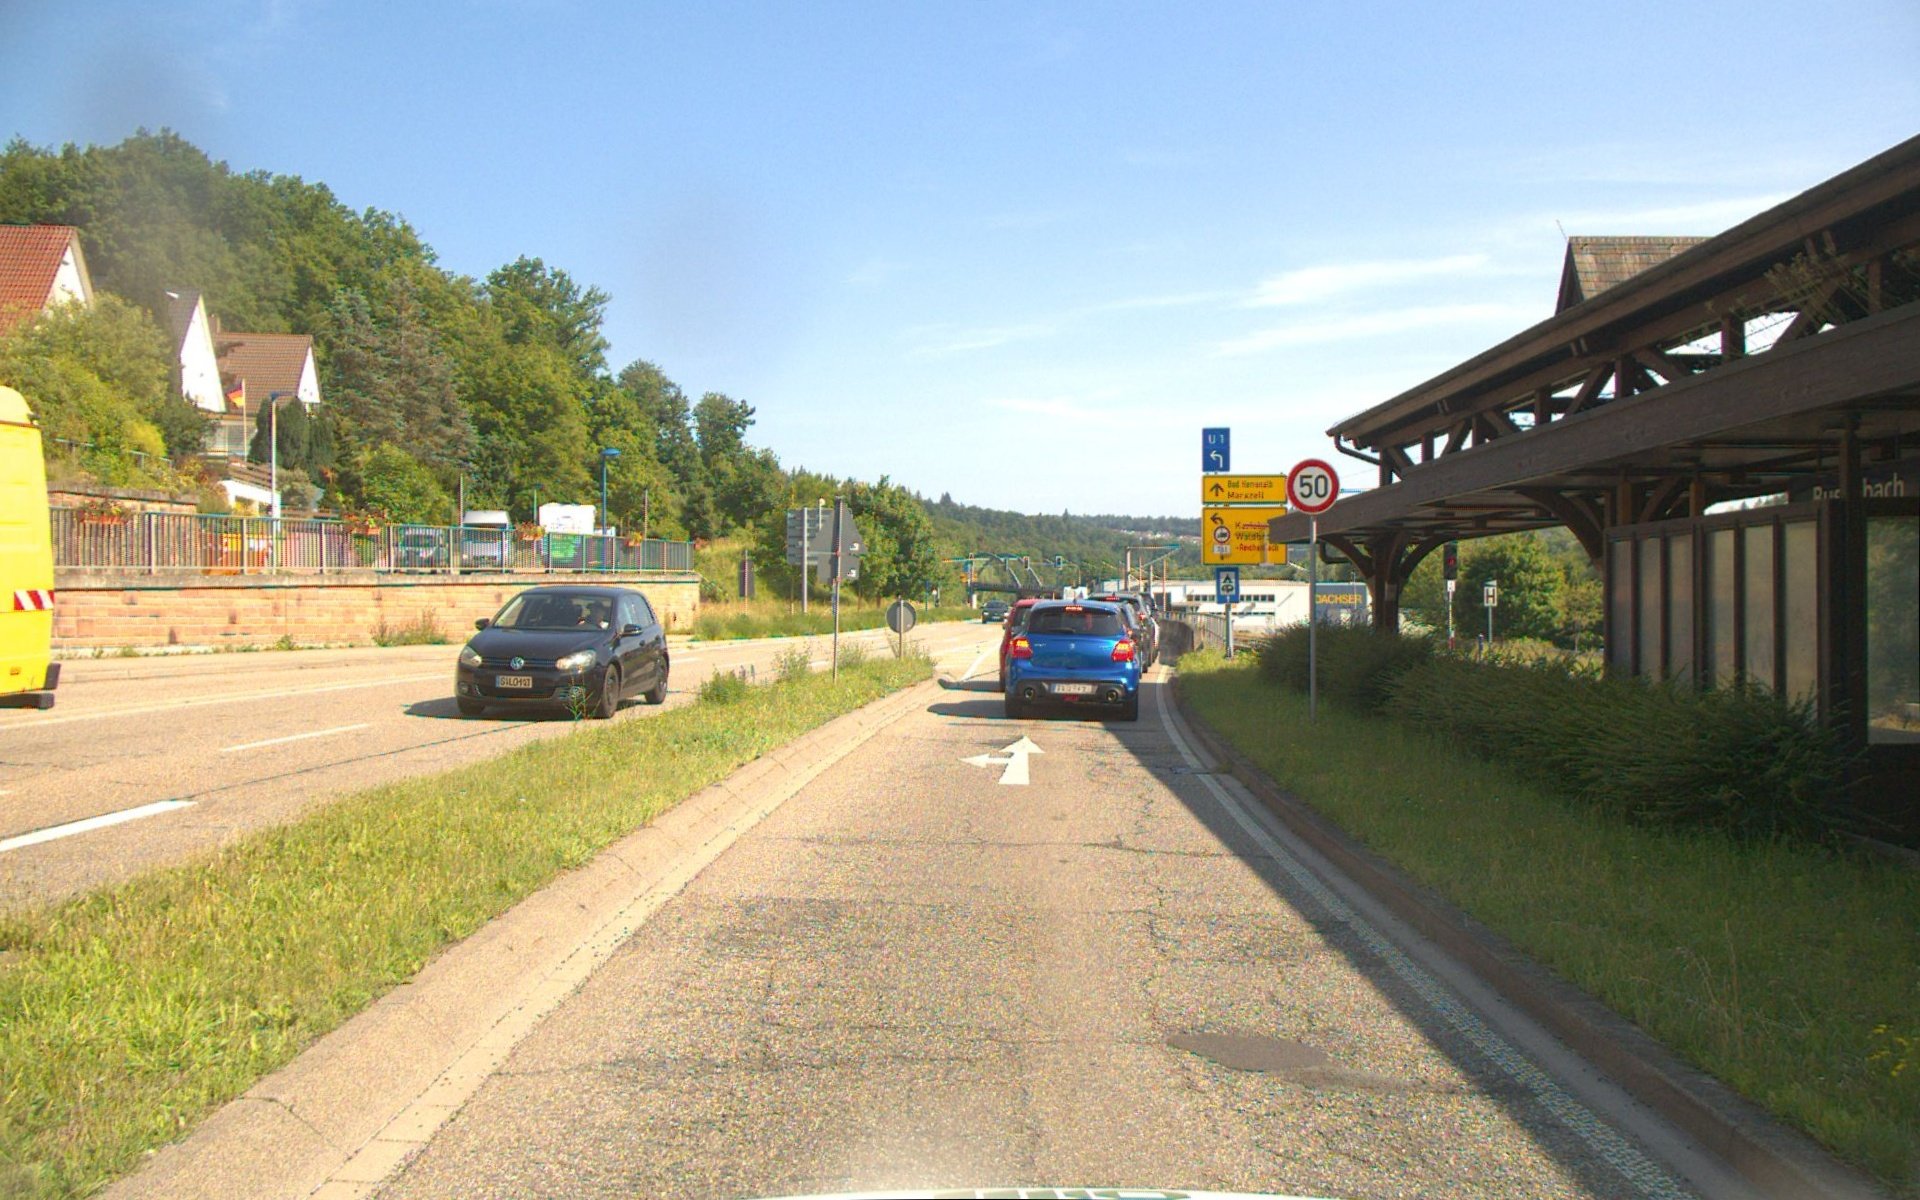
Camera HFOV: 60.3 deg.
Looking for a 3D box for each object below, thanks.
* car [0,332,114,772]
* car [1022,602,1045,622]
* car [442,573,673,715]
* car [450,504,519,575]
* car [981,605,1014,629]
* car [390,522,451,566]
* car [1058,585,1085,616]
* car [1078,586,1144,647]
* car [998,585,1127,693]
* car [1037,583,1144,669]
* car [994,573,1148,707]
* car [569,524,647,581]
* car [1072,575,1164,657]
[{"bbox_3d":[-7.928,-0.374,9.652,2.416,3.063,6.467,3,0,1],"label":"car"},{"bbox_3d":[6.896,1.112,155.449,1.952,1.814,4.002,3,0,4],"label":"car"},{"bbox_3d":[-4.654,0.460,19.704,1.709,1.488,4.044,1,0,0],"label":"car"},{"bbox_3d":[-18.142,-2.319,63.304,2.057,2.486,5.768,3,1,-13],"label":"car"},{"bbox_3d":[2.501,1.113,109.340,1.753,1.496,4.719,2,0,7],"label":"car"},{"bbox_3d":[-21.824,-2.240,66.990,1.861,1.657,3.989,1,0,-12],"label":"car"},{"bbox_3d":[8.528,0.047,126.507,1.952,2.181,4.722,3,0,4],"label":"car"},{"bbox_3d":[4.867,0.488,53.122,1.952,1.766,4.003,3,1,5],"label":"car"},{"bbox_3d":[1.796,0.619,27.912,1.951,1.598,4.002,3,0,5],"label":"car"},{"bbox_3d":[2.649,0.470,33.137,1.951,1.558,4.605,1,0,5],"label":"car"},{"bbox_3d":[1.475,0.481,22.249,1.829,1.575,4.002,2,0,3],"label":"car"},{"bbox_3d":[-13.122,-1.781,61.899,1.980,1.953,4.729,3,1,-3],"label":"car"},{"bbox_3d":[3.736,0.344,39.163,1.952,1.716,4.500,3,1,5],"label":"car"}]
